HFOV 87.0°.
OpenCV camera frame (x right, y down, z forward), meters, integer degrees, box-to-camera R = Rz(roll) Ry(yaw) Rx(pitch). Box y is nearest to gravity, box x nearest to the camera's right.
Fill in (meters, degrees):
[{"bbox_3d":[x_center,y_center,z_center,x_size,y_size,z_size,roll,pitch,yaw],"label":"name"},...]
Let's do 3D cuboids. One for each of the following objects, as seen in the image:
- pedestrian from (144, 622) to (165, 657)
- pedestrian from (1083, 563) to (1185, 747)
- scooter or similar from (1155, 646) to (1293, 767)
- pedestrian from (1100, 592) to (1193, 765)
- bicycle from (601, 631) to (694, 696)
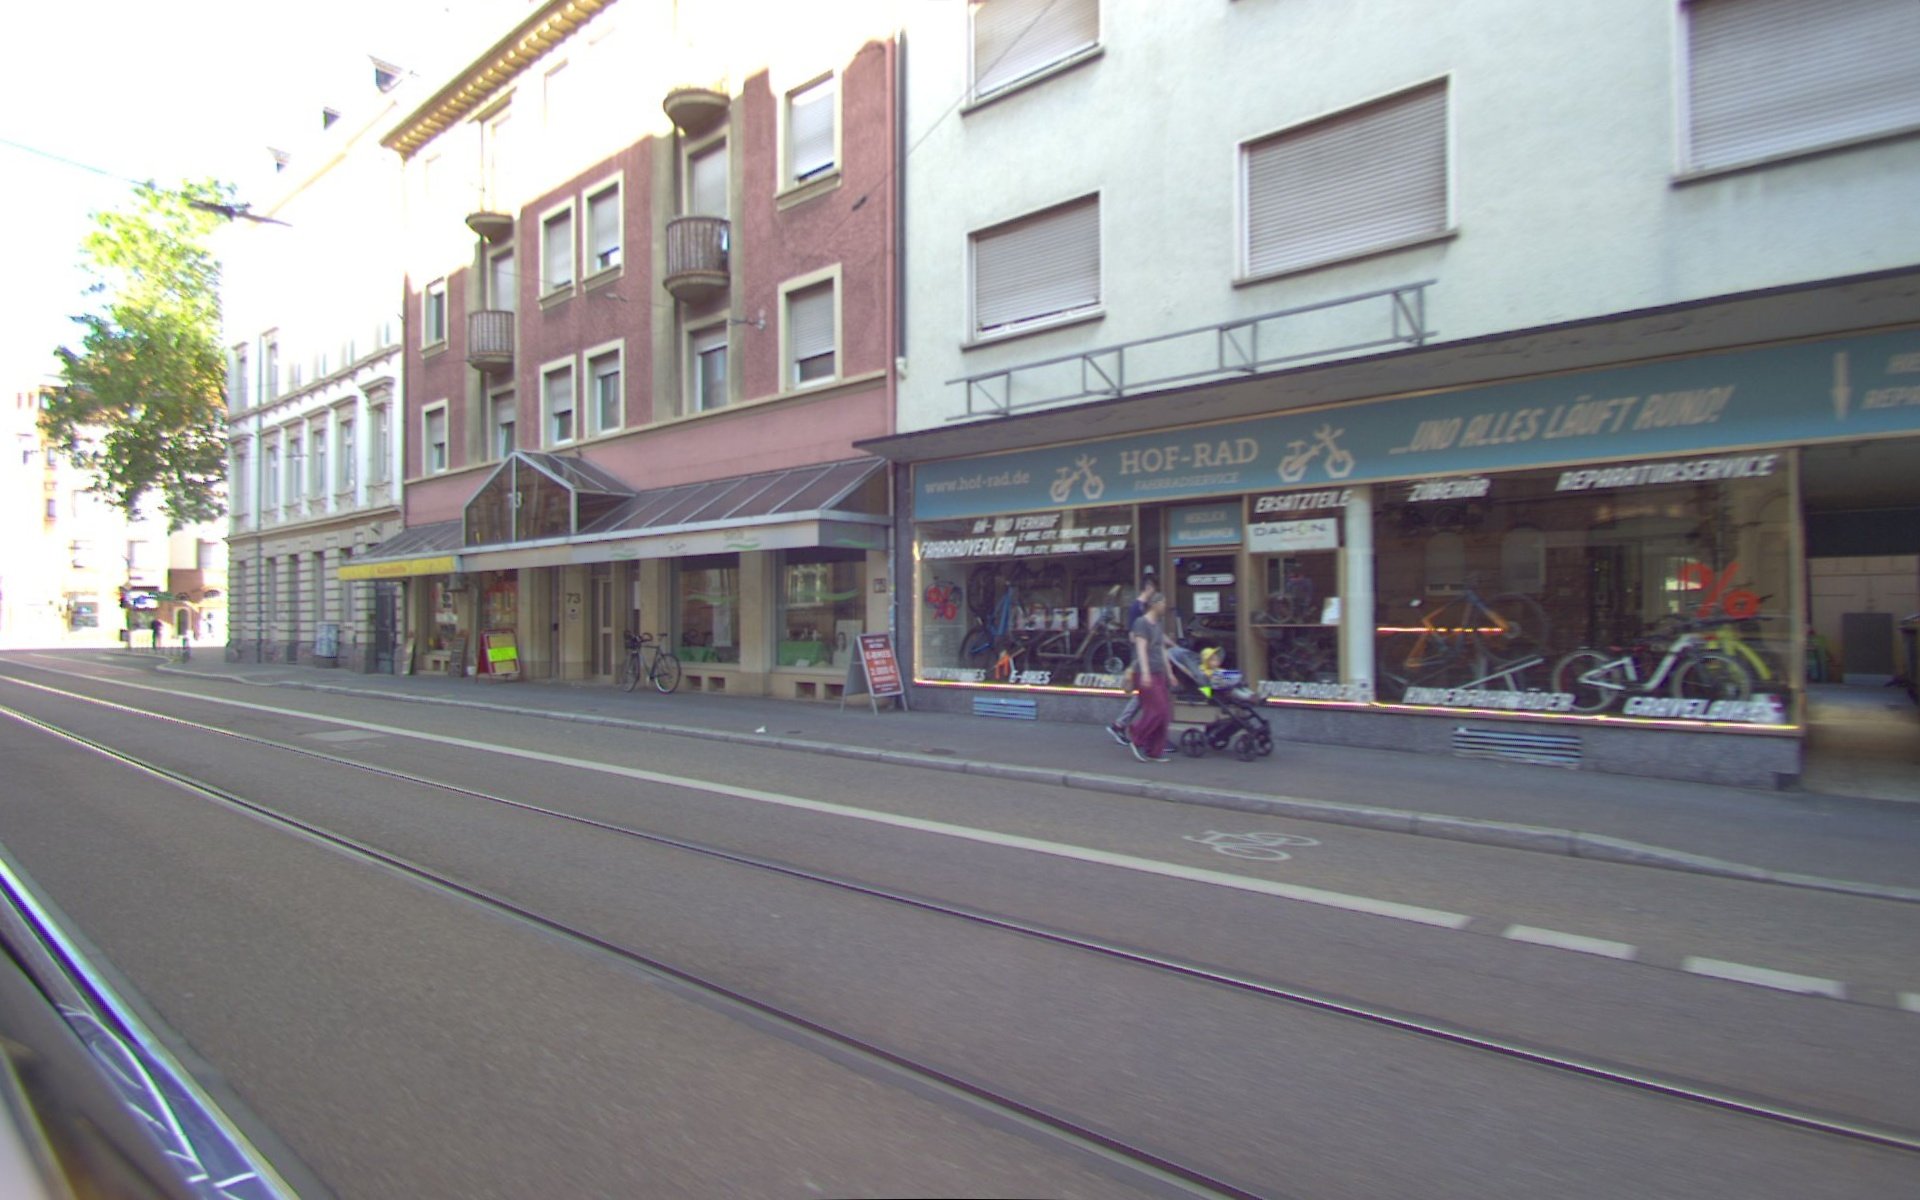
[{"bbox_3d":[-43.598,2.123,54.796,0.809,1.861,0.784,-1,-1,43],"label":"pedestrian"},{"bbox_3d":[1.795,0.540,10.442,0.820,1.803,0.619,-1,-1,40],"label":"pedestrian"},{"bbox_3d":[2.550,0.998,9.815,1.104,1.069,0.655,-2,-1,41],"label":"scooter or similar"},{"bbox_3d":[1.771,0.711,9.584,0.623,1.560,0.629,-1,-1,40],"label":"pedestrian"},{"bbox_3d":[-5.648,1.114,18.189,2.328,1.068,0.420,-1,-1,41],"label":"bicycle"}]
